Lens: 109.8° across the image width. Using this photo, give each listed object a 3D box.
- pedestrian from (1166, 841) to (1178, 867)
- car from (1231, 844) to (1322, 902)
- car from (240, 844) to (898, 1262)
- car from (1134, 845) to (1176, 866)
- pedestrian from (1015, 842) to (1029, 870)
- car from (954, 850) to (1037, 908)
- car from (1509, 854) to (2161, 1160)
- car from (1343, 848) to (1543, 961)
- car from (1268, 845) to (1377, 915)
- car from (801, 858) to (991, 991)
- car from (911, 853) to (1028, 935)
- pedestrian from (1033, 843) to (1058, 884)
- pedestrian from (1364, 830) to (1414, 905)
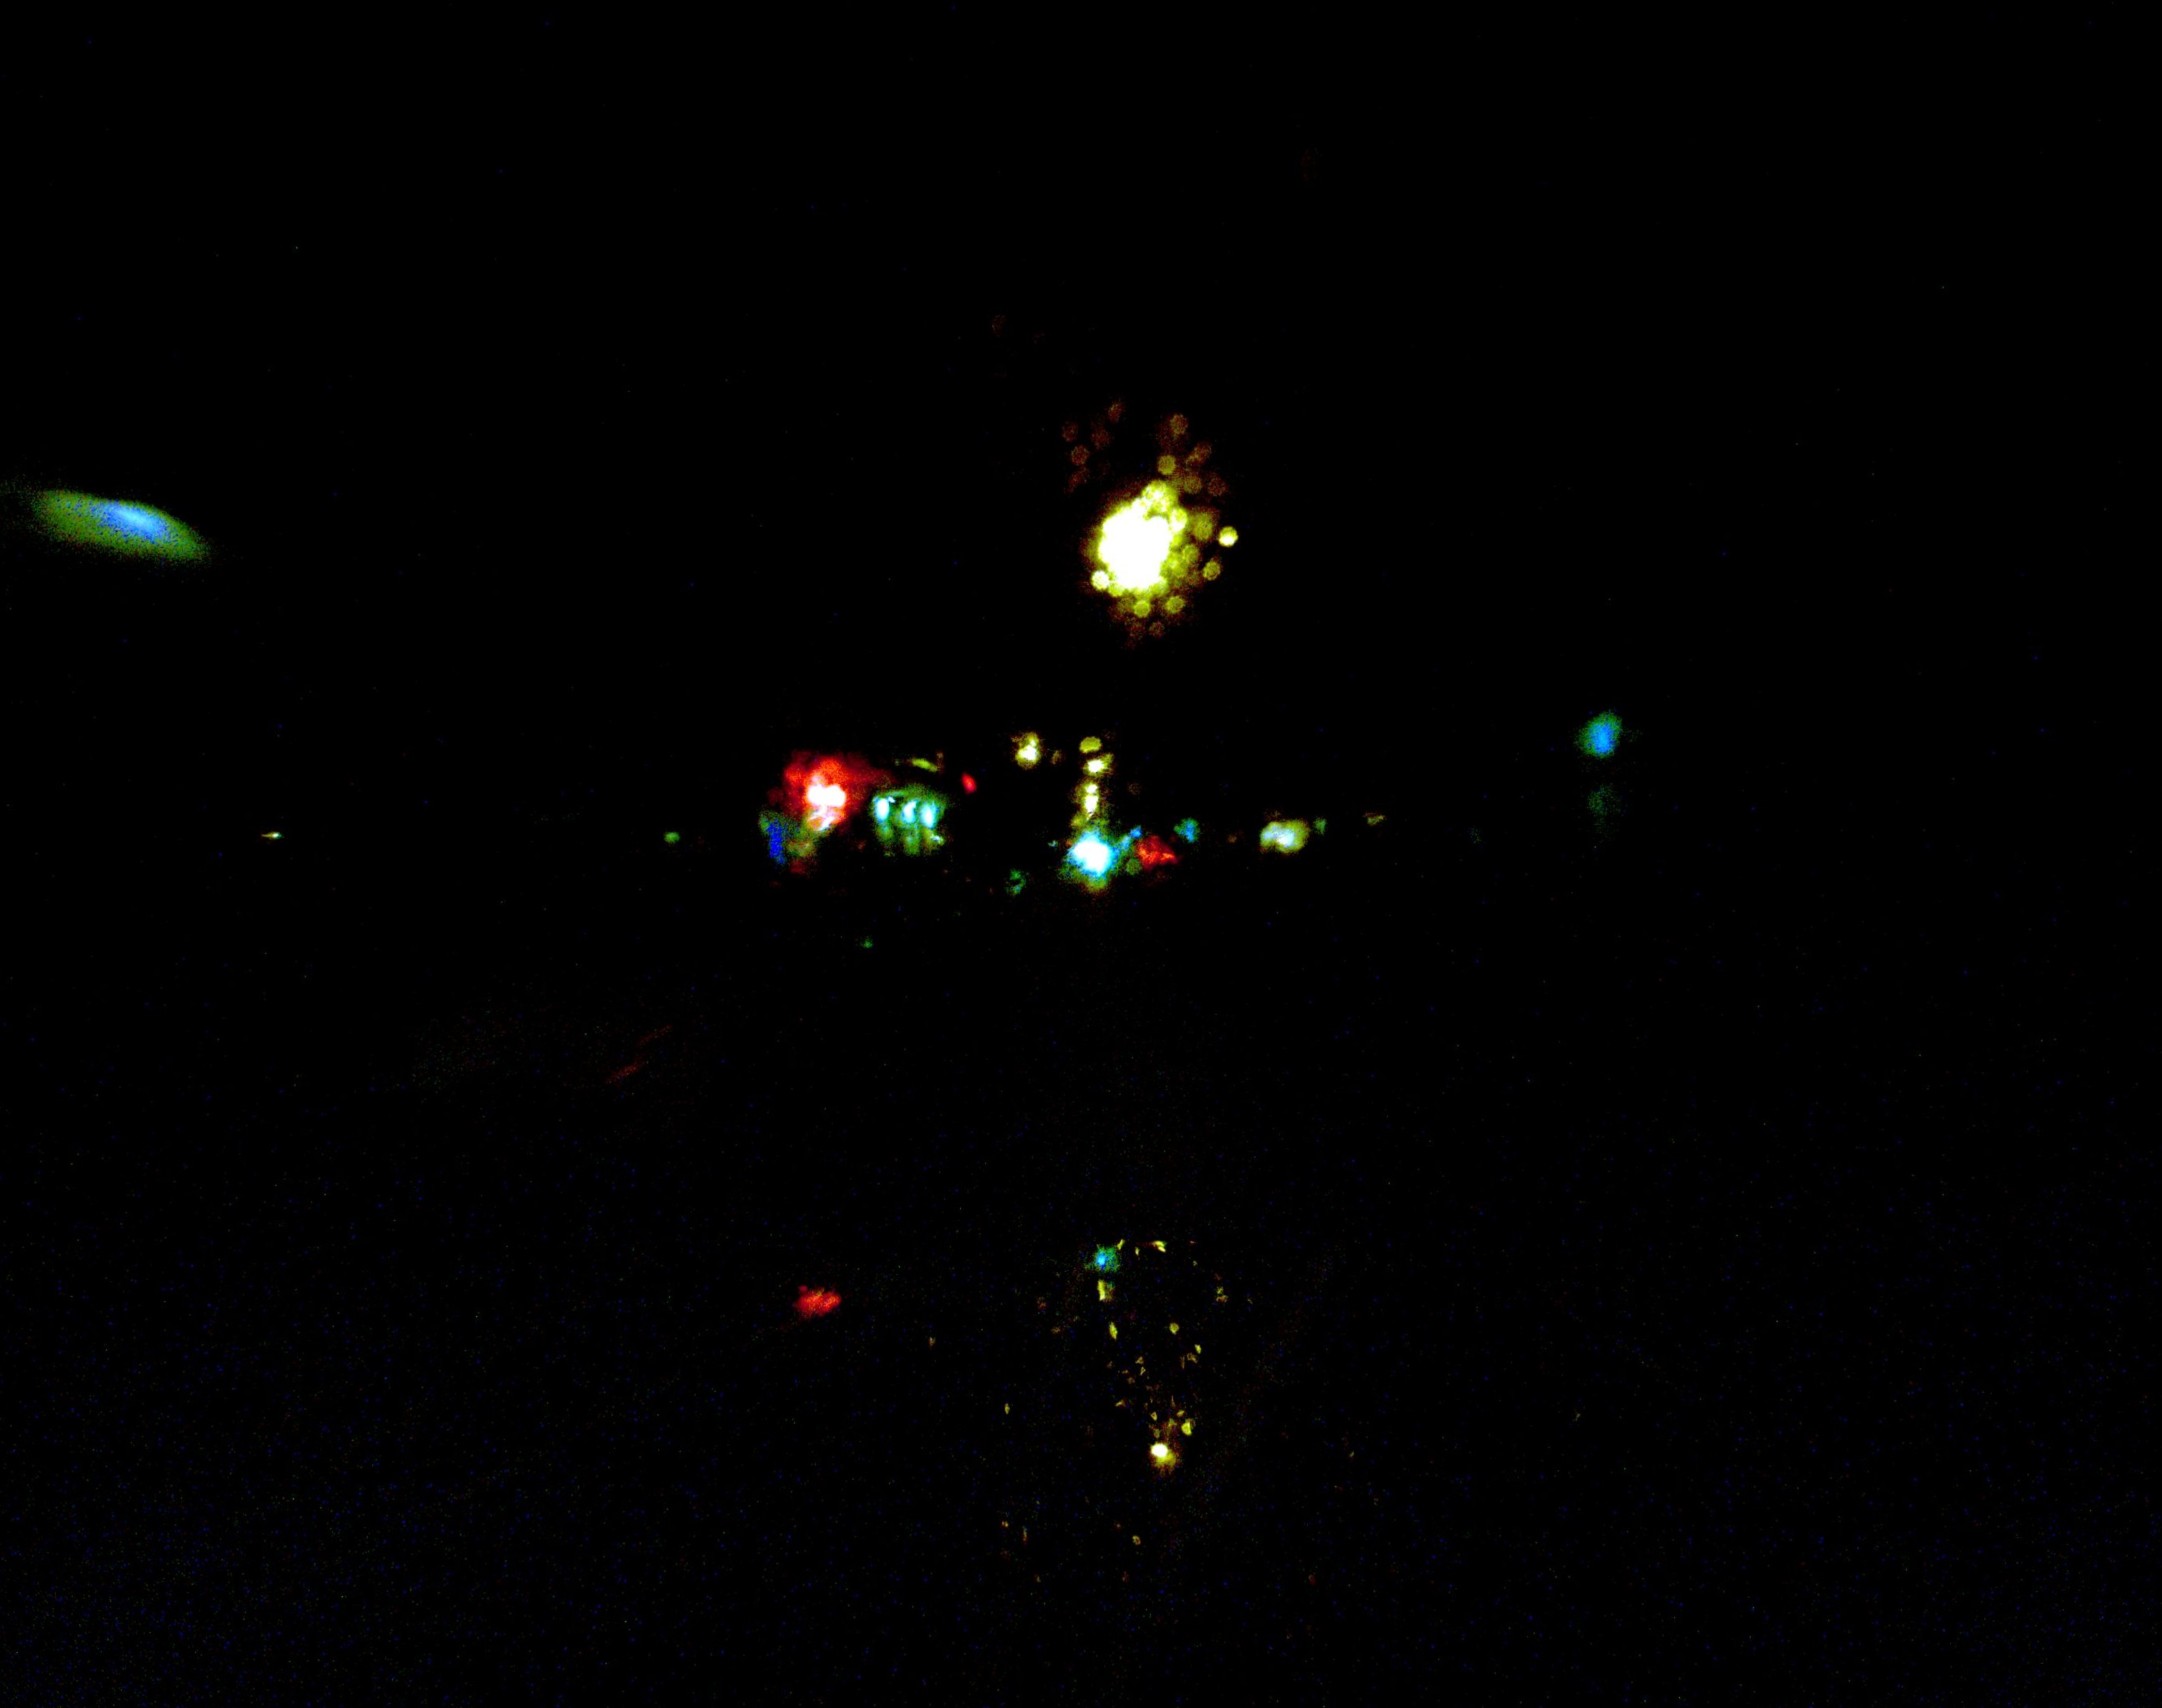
[{"bbox_3d":[7.188,-0.003,60.267,0.776,2.002,0.587,-3,2,1],"label":"pedestrian"},{"bbox_3d":[5.537,0.510,21.956,1.697,1.470,3.963,-1,0,2],"label":"car"},{"bbox_3d":[-2.569,0.803,5.053,1.676,1.712,3.856,0,1,1],"label":"car"},{"bbox_3d":[5.190,0.134,53.928,1.879,1.386,4.069,-1,0,-11],"label":"car"},{"bbox_3d":[-4.129,0.129,53.457,0.776,1.890,0.777,-3,2,1],"label":"pedestrian"},{"bbox_3d":[-2.390,0.646,22.244,1.846,1.498,4.161,0,1,1],"label":"car"},{"bbox_3d":[5.386,0.769,5.933,1.731,1.445,4.272,-1,1,1],"label":"car"},{"bbox_3d":[5.374,0.664,11.747,1.531,1.445,3.383,-1,1,1],"label":"car"},{"bbox_3d":[5.569,0.567,17.926,1.696,1.470,3.385,-1,0,5],"label":"car"},{"bbox_3d":[-2.455,0.855,11.179,1.689,1.498,4.161,0,1,1],"label":"car"},{"bbox_3d":[-2.260,0.765,16.534,1.846,1.498,4.161,0,1,1],"label":"car"},{"bbox_3d":[-1.511,0.380,32.124,1.007,1.698,0.613,0,1,1],"label":"pedestrian"},{"bbox_3d":[7.634,0.327,18.840,0.912,1.778,0.629,-3,2,1],"label":"pedestrian"}]
